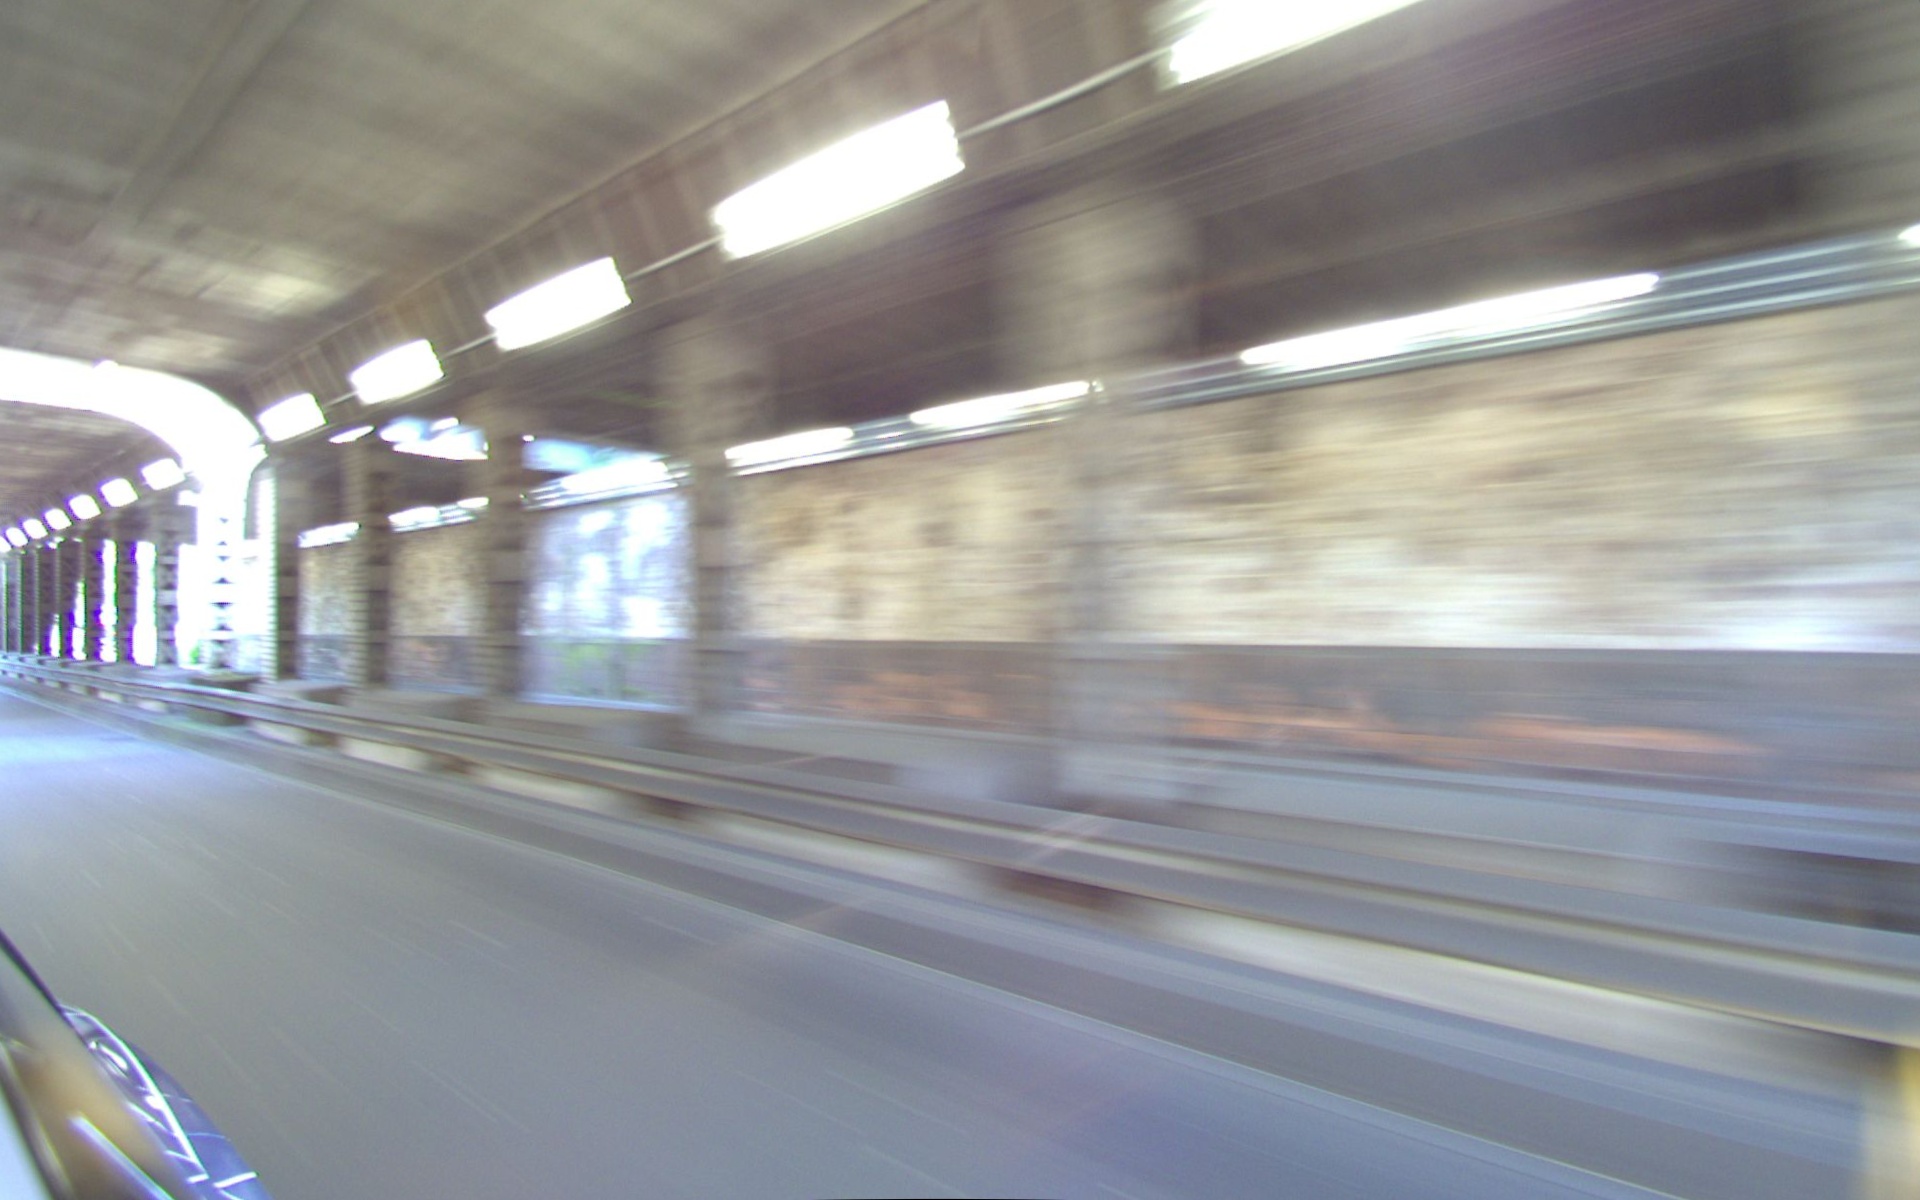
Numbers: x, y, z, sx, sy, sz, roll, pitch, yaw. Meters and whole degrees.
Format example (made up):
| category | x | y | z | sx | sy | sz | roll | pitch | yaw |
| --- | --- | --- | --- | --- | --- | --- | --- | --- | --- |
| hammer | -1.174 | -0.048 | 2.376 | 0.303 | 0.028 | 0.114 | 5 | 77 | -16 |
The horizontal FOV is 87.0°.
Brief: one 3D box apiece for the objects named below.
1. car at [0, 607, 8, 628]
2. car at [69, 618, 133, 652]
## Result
| category | x | y | z | sx | sy | sz | roll | pitch | yaw |
| --- | --- | --- | --- | --- | --- | --- | --- | --- | --- |
| car | -74.257 | 1.278 | 75.550 | 1.853 | 1.611 | 4.278 | 0 | -1 | 32 |
| car | -41.612 | 1.682 | 49.104 | 1.924 | 1.529 | 4.398 | 2 | -2 | -35 |
